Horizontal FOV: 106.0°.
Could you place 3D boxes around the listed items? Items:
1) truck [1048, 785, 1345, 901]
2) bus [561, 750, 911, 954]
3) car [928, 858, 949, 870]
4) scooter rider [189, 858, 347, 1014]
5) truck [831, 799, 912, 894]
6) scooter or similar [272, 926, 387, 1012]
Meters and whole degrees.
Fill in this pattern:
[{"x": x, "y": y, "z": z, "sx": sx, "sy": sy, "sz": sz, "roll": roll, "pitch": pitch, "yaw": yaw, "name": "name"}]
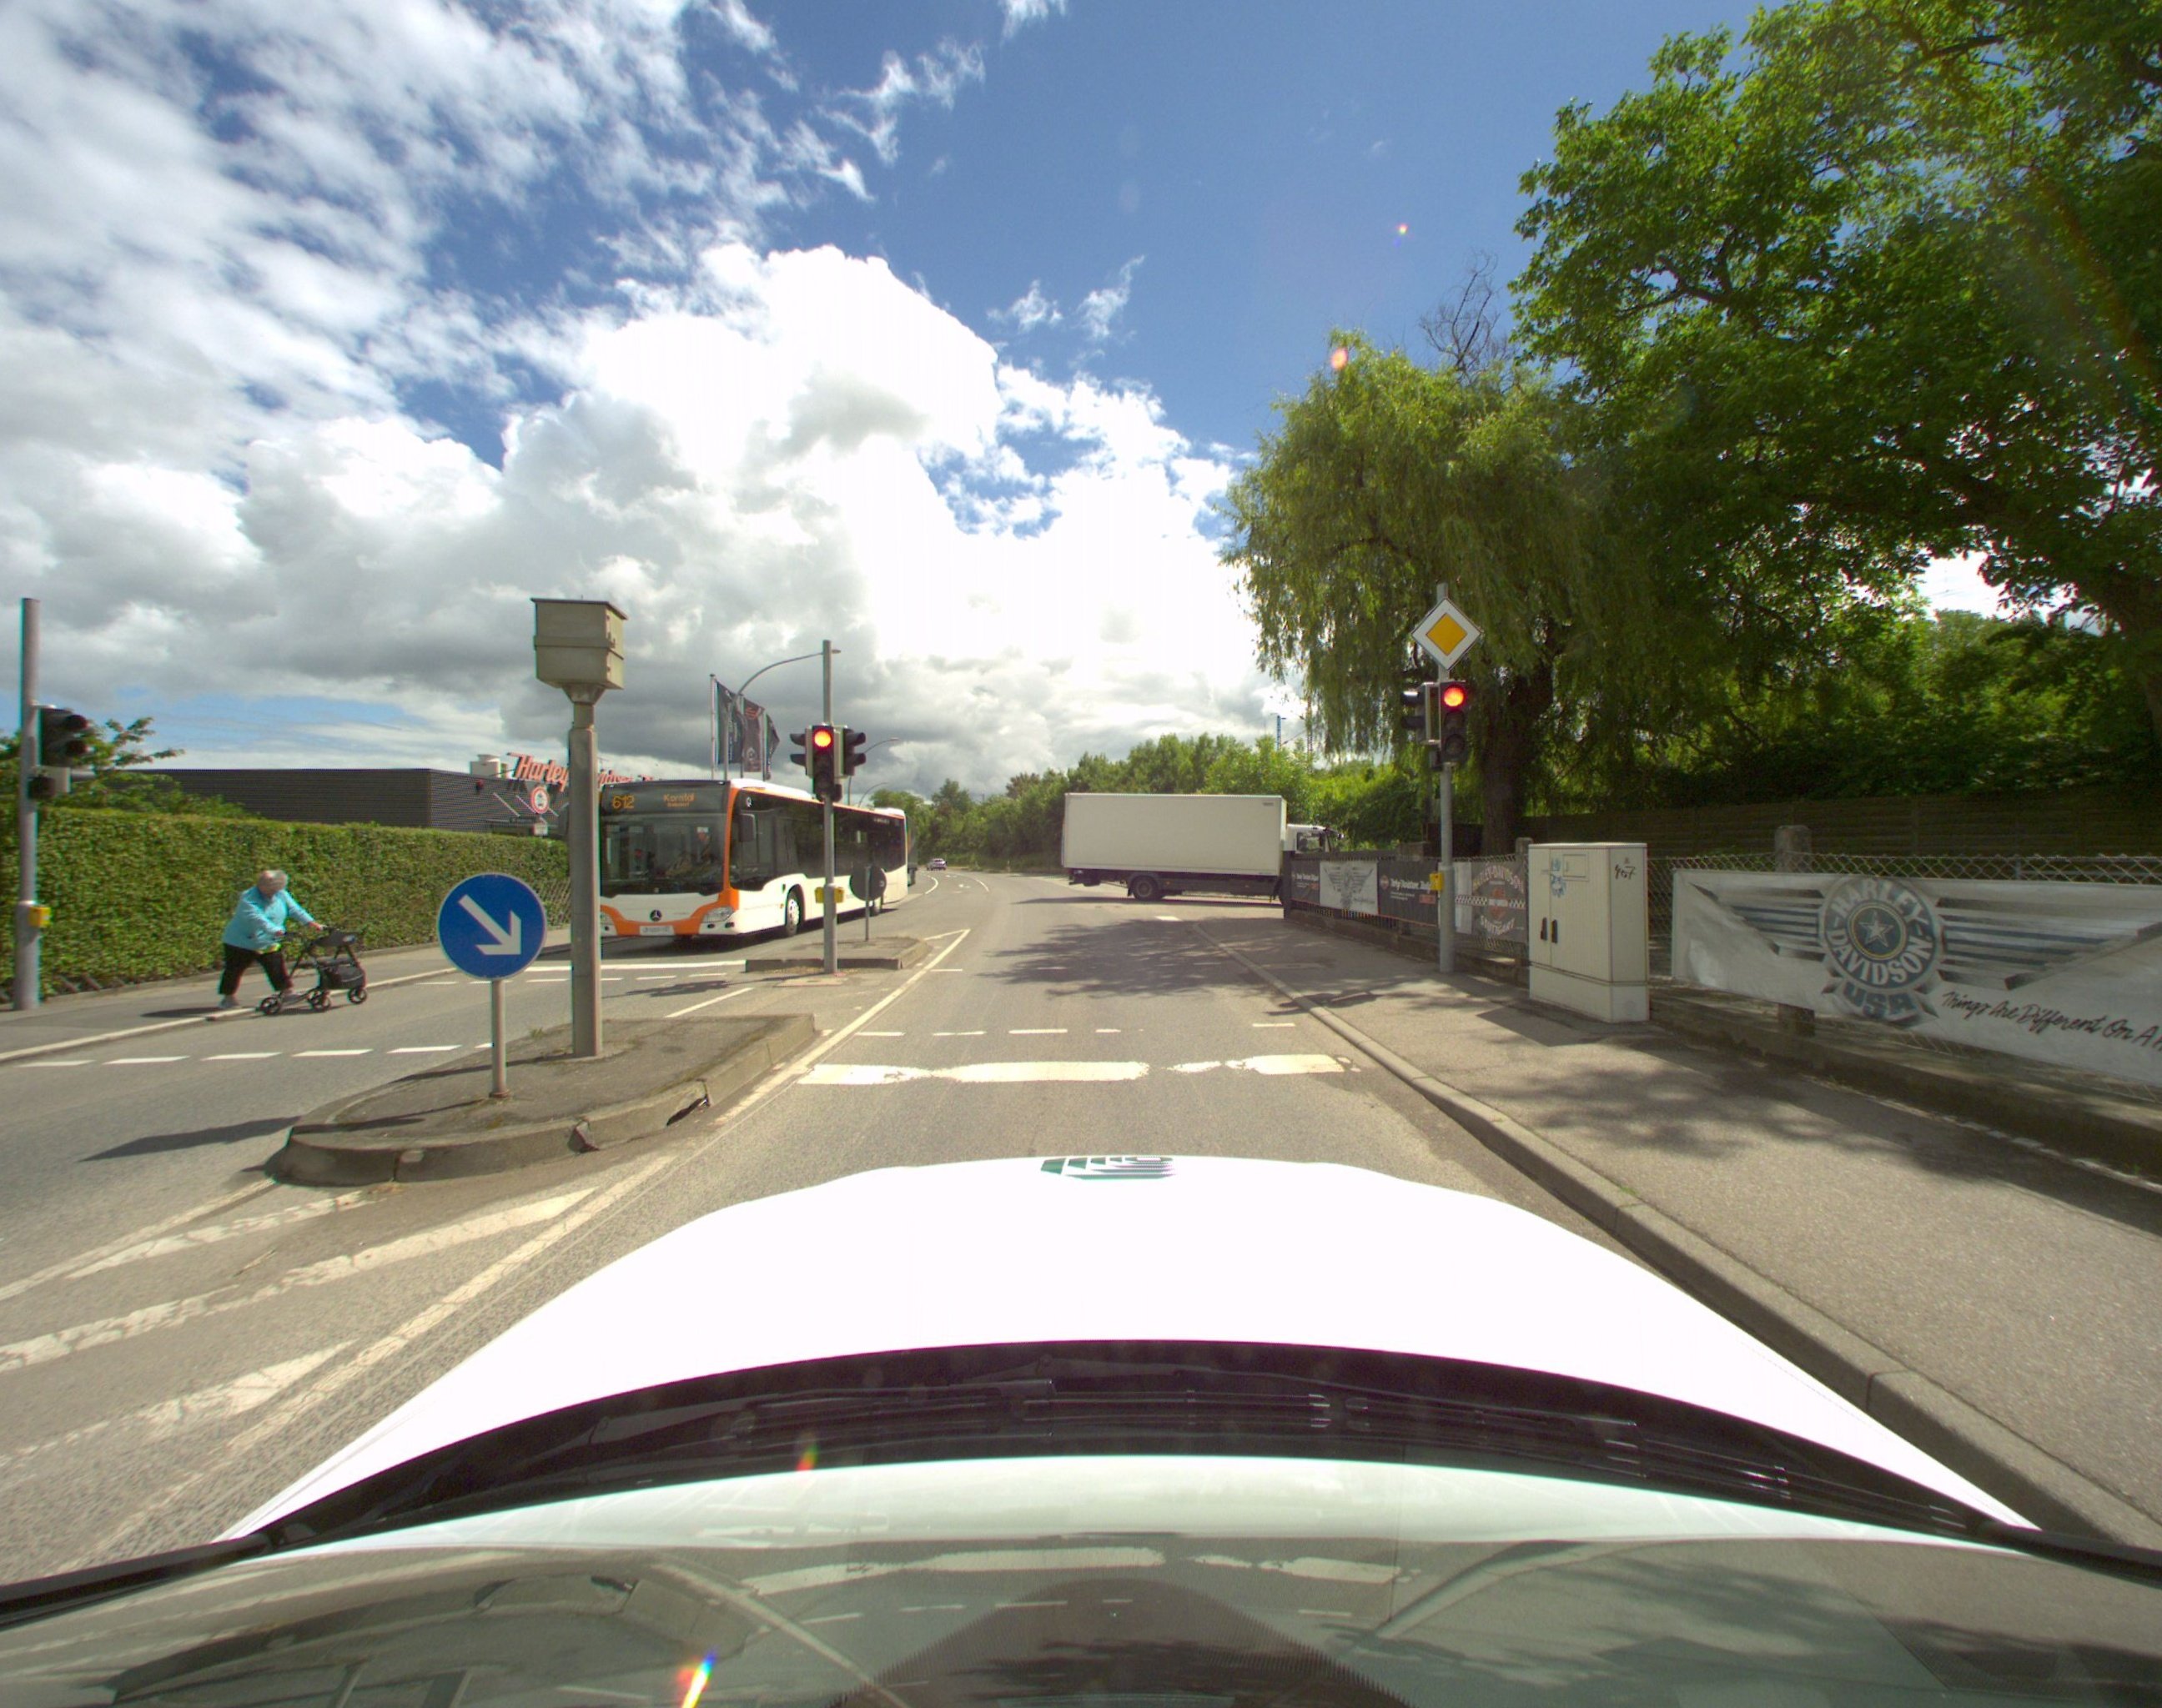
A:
[{"x": 3.917, "y": -0.307, "z": 27.847, "sx": 9.614, "sy": 3.541, "sz": 2.862, "roll": -1, "pitch": 0, "yaw": 18, "name": "truck"}, {"x": -6.921, "y": 0.000, "z": 19.386, "sx": 2.767, "sy": 3.266, "sz": 12.127, "roll": -2, "pitch": 0, "yaw": 2, "name": "bus"}, {"x": -17.864, "y": 1.232, "z": 101.712, "sx": 1.892, "sy": 1.508, "sz": 3.972, "roll": 0, "pitch": 0, "yaw": -21, "name": "car"}, {"x": -8.719, "y": 0.843, "z": 8.770, "sx": 0.875, "sy": 1.589, "sz": 0.796, "roll": -1, "pitch": 0, "yaw": 0, "name": "scooter rider"}, {"x": -10.214, "y": -0.303, "z": 40.598, "sx": 2.425, "sy": 4.131, "sz": 9.132, "roll": 1, "pitch": -1, "yaw": -5, "name": "truck"}, {"x": -8.105, "y": 1.228, "z": 8.811, "sx": 0.609, "sy": 0.831, "sz": 0.659, "roll": 1, "pitch": 0, "yaw": 0, "name": "scooter or similar"}]
